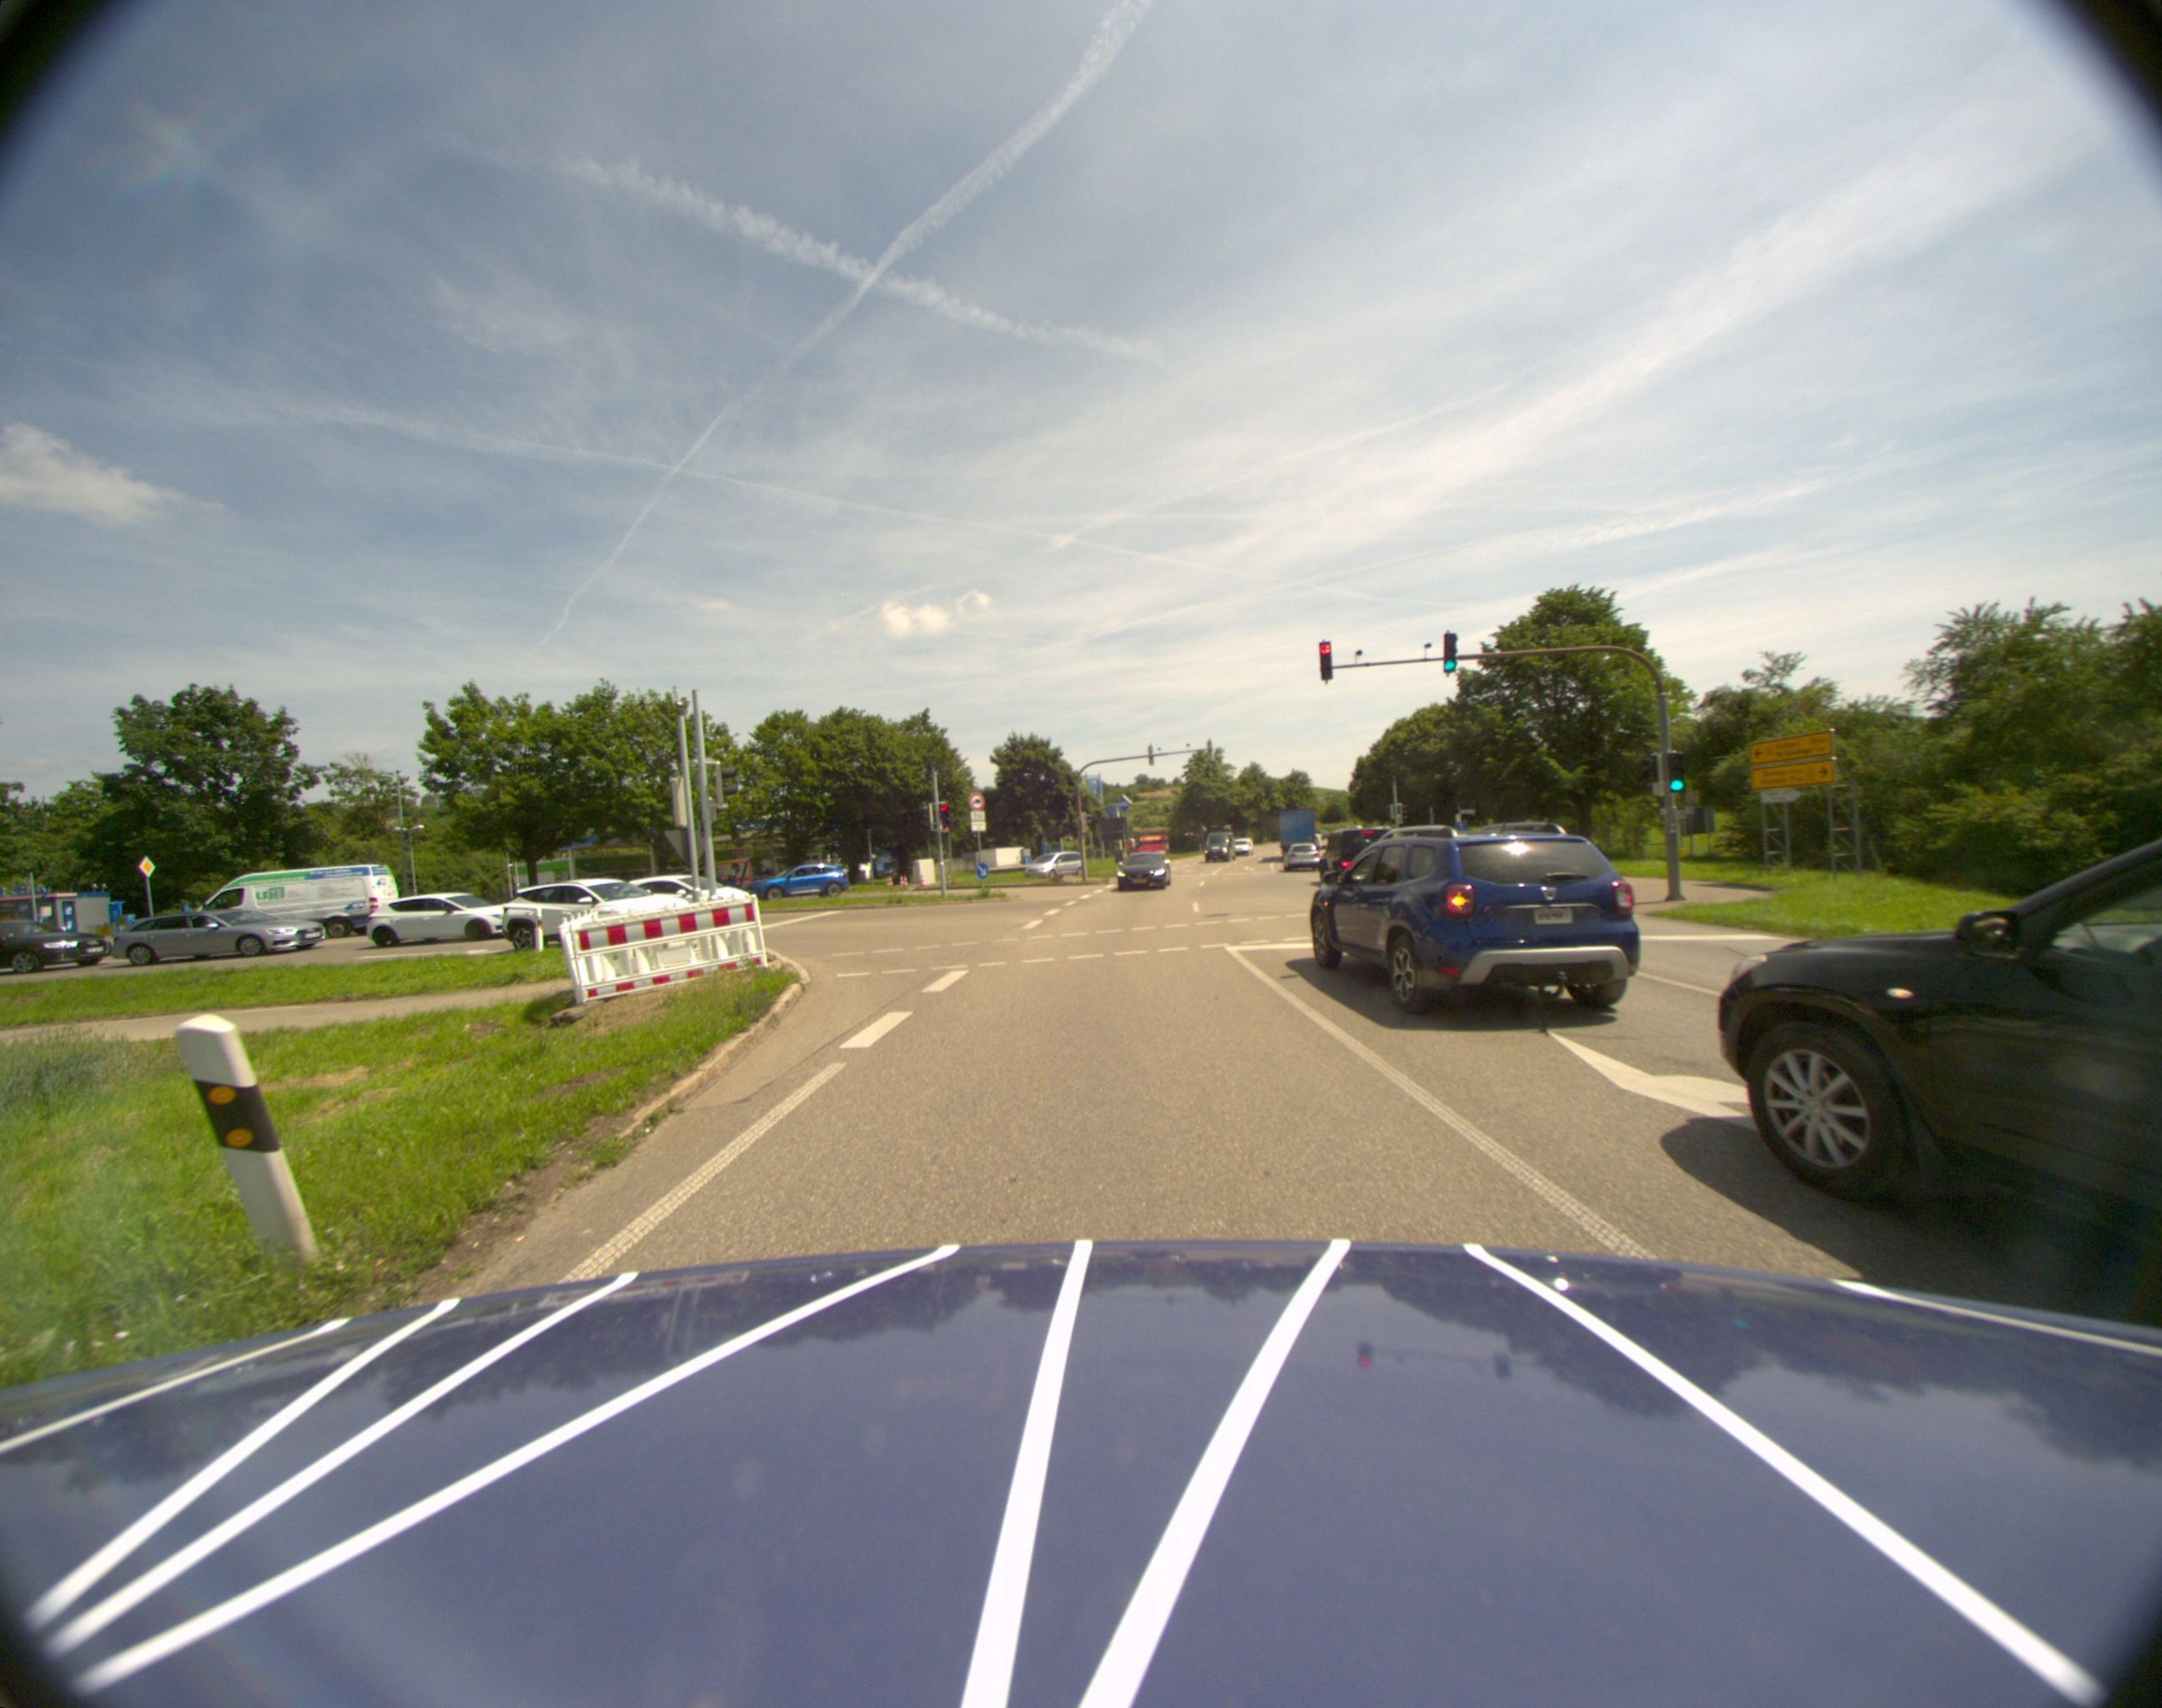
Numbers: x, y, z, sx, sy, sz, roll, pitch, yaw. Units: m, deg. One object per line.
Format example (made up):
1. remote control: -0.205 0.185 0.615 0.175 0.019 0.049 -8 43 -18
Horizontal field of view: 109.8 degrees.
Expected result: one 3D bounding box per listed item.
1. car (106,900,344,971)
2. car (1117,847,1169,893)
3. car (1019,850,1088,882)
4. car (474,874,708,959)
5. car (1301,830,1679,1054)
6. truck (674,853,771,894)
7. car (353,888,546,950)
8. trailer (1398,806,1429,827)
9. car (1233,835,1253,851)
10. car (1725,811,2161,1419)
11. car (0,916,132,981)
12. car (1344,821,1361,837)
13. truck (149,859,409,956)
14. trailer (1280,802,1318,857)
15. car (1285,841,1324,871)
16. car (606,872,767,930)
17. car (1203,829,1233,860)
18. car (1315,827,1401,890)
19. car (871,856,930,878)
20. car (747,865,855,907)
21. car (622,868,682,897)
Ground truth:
1. car: -25.402 2.381 22.711 4.561 1.502 1.799 -4 2 -6
2. car: 2.453 0.566 29.584 1.782 1.484 4.158 -3 1 6
3. car: -1.661 0.710 46.955 1.862 1.682 4.533 -2 3 34
4. car: -11.943 1.498 18.648 4.634 1.598 1.999 -4 2 12
5. car: 3.694 0.638 7.787 1.775 1.649 3.999 -2 1 1
6. truck: -27.293 1.462 58.109 2.257 2.603 6.159 -3 1 38
7. car: -18.806 1.914 22.772 4.103 1.411 1.800 -3 2 -1
8. trailer: 68.301 -7.754 155.868 2.779 4.079 11.681 1 3 39
9. car: 17.406 -1.218 81.510 1.781 1.484 4.160 -2 2 16
10. car: 3.797 0.704 1.492 1.775 1.649 4.000 -2 1 2
11. car: -31.646 2.902 22.304 4.562 1.502 1.799 -5 2 -10
12. car: 42.995 -3.931 120.263 2.053 2.438 5.276 -1 1 25
13. truck: -28.926 1.827 27.763 5.948 2.722 2.068 -5 4 -24
14. trailer: 18.223 -1.910 63.230 2.570 4.006 13.609 -2 1 17
15. car: 11.961 0.060 40.837 1.773 1.487 4.003 -1 1 13
16. car: -11.831 1.399 22.874 3.966 1.411 1.829 -3 2 13
17. car: 11.885 -0.859 65.879 1.978 2.505 4.161 -2 2 17
18. car: 9.933 0.096 27.674 1.998 1.994 5.167 -2 1 10
19. car: -15.724 1.113 66.429 1.994 1.612 4.638 -1 3 39
20. car: -13.214 1.482 35.982 4.395 1.549 1.780 -4 1 -37
21. car: -35.178 2.323 62.384 1.708 2.002 3.869 -2 2 33
